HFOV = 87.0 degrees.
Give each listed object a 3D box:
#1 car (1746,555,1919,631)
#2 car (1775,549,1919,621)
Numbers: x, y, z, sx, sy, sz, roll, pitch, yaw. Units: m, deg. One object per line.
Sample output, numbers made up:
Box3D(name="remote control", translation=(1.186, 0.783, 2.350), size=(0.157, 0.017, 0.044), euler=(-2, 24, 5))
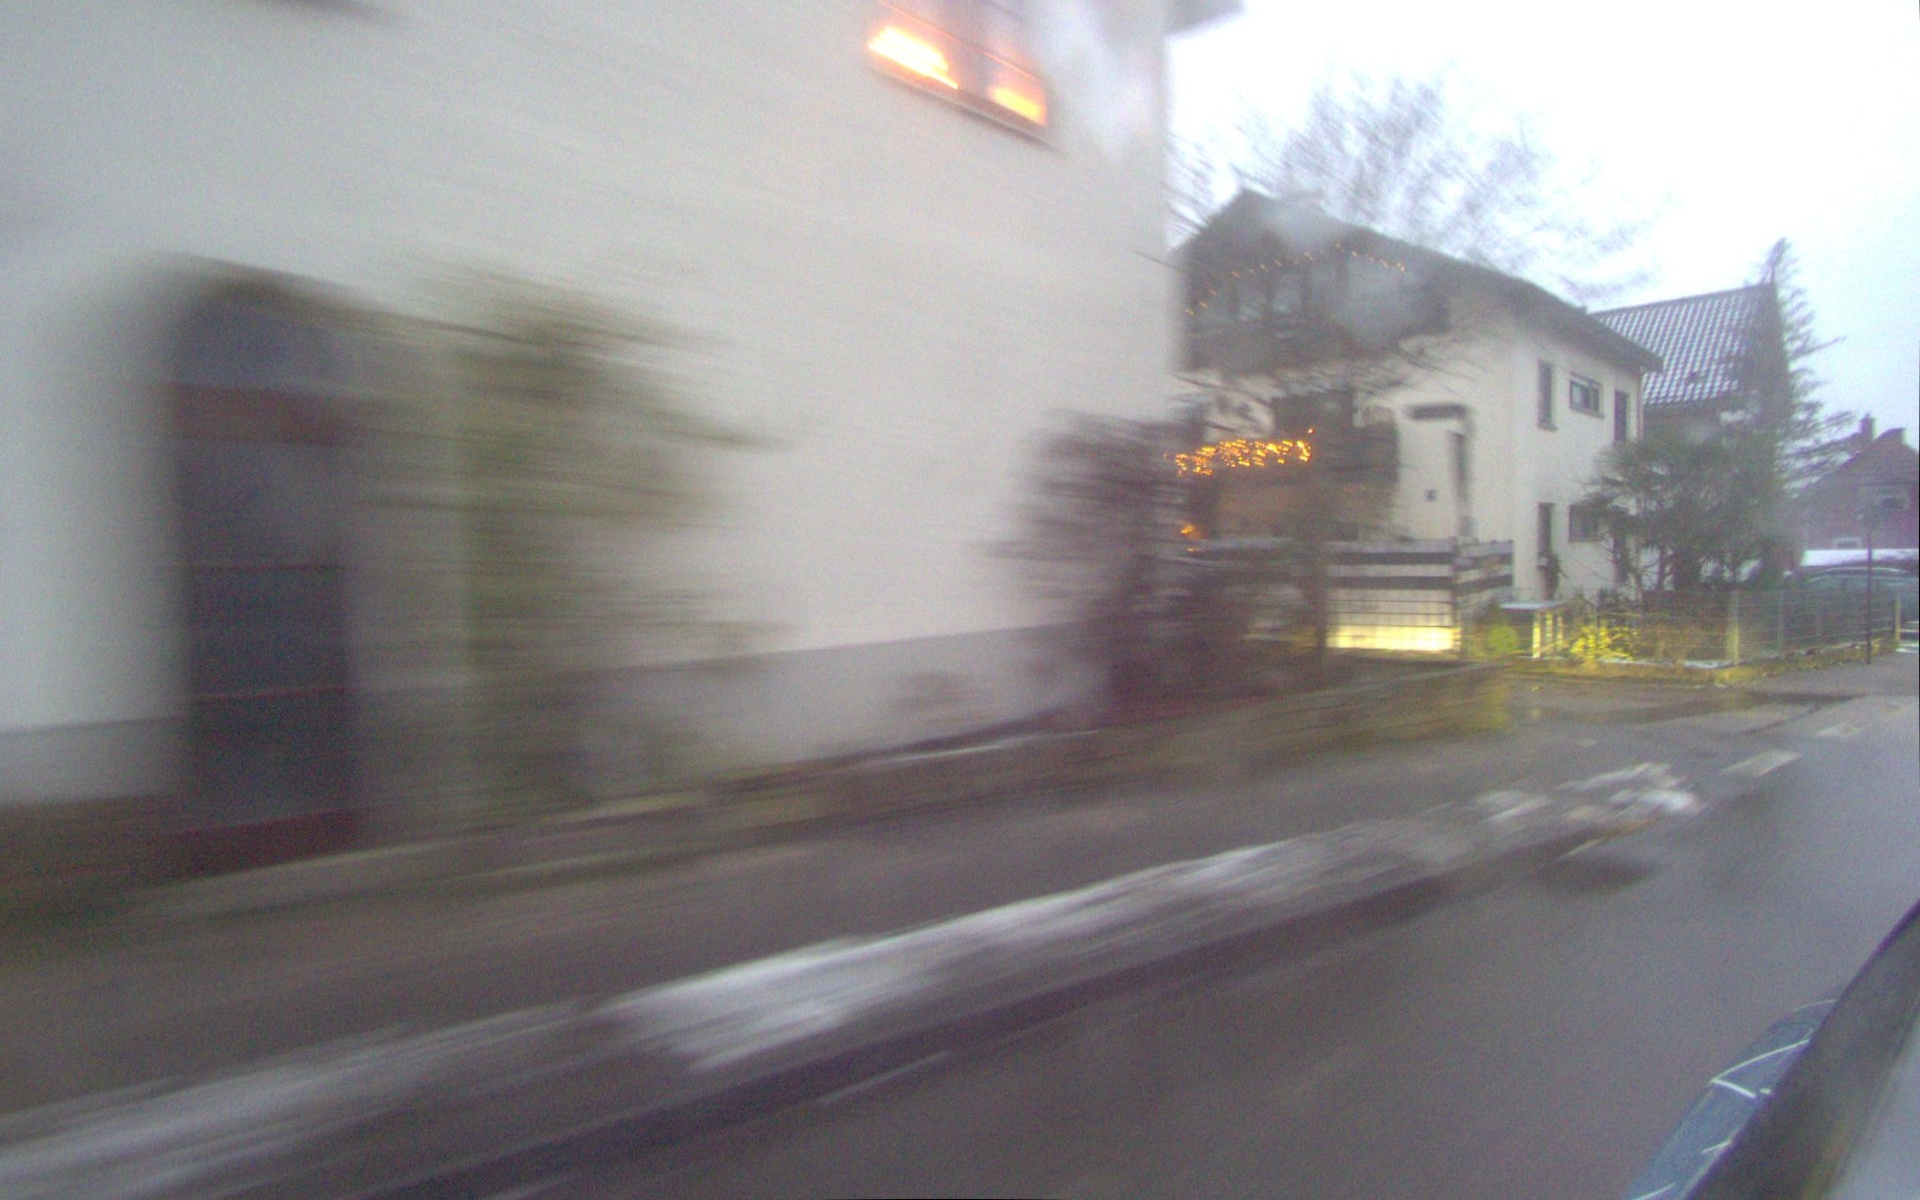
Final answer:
Box3D(name="car", translation=(22.929, -0.210, 26.087), size=(1.968, 1.816, 3.989), euler=(-1, 2, -44))
Box3D(name="car", translation=(26.847, -0.458, 30.003), size=(1.968, 2.039, 3.989), euler=(-1, 2, -44))
